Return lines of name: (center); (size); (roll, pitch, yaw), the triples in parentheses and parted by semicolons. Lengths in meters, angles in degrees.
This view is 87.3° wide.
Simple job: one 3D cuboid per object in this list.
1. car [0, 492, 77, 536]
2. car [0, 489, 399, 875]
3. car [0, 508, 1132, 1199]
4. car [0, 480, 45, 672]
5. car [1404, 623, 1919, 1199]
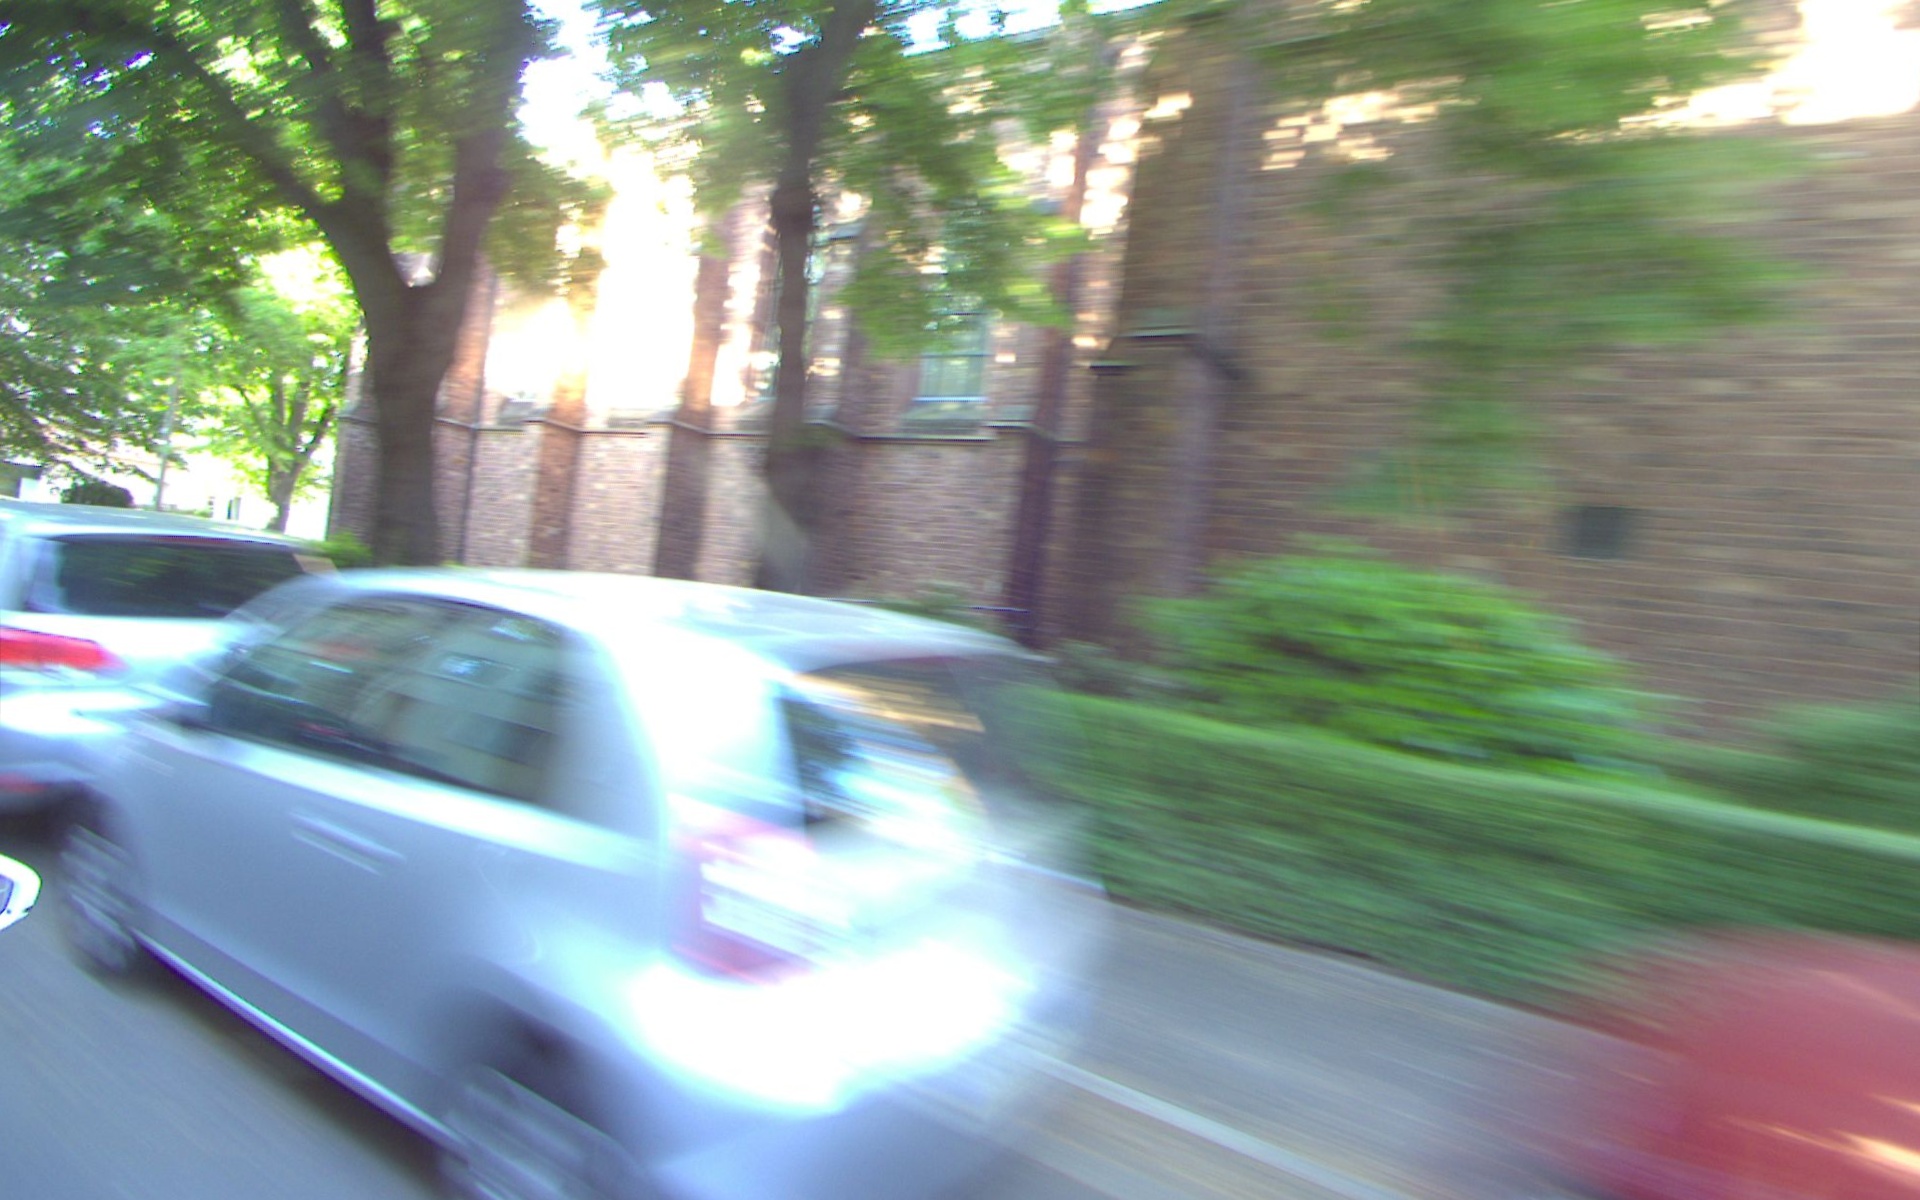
car: (-42.518, -3.953, 45.281); (1.610, 1.489, 3.856); (4, -4, 38)
car: (-4.921, 0.192, 5.440); (3.806, 1.489, 1.600); (6, 1, 32)
car: (-1.504, 0.599, 3.317); (3.659, 1.526, 1.598); (6, 3, 32)
car: (-9.188, -0.338, 8.263); (3.505, 1.488, 1.598); (6, 3, 32)
car: (2.600, 1.023, 0.701); (4.034, 1.608, 1.662); (6, 3, 34)
